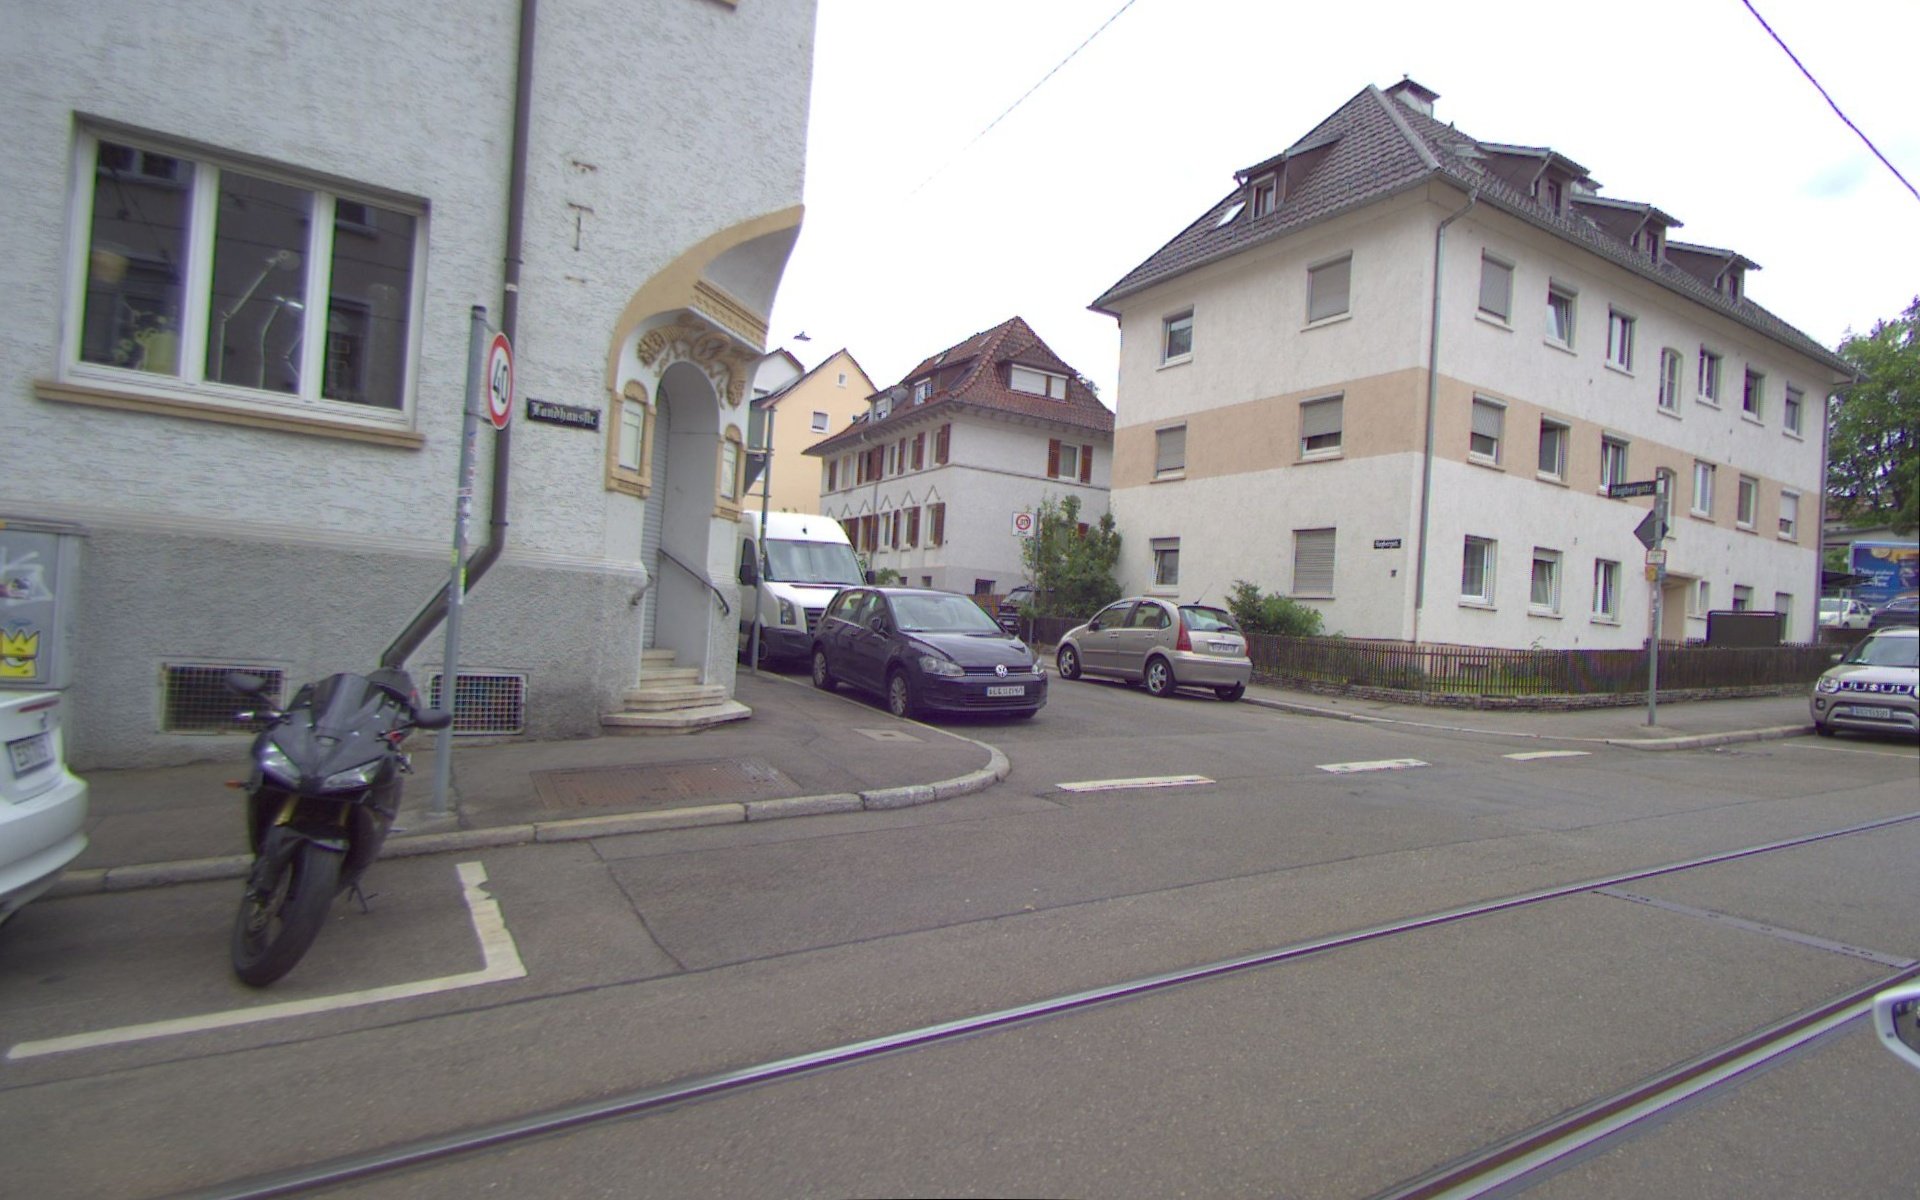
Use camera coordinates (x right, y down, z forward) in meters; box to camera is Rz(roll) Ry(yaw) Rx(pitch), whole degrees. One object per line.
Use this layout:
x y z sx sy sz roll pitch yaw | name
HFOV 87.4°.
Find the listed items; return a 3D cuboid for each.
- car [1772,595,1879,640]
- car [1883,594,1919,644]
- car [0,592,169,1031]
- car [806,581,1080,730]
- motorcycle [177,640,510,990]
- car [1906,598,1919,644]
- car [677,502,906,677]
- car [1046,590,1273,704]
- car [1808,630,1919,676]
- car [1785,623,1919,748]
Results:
30.754 0.625 35.675 3.842 1.514 1.675 1 1 -30 | car
32.048 0.688 31.640 1.668 1.573 4.039 1 2 -30 | car
-5.196 0.640 2.958 4.240 1.375 1.771 1 0 -30 | car
-0.393 0.550 12.378 1.732 1.483 3.971 1 1 -28 | car
-2.626 0.785 4.582 0.753 1.149 2.108 0 -1 -16 | motorcycle
33.946 0.749 32.865 1.719 1.544 4.040 1 1 -30 | car
-3.276 -0.204 18.042 2.164 2.566 6.167 1 1 -28 | car
3.192 0.720 16.693 1.757 1.511 3.498 7 -2 -29 | car
29.018 1.608 30.711 1.839 1.363 4.319 1 -4 -30 | car
13.886 1.161 14.576 3.803 1.577 1.689 1 0 -29 | car
